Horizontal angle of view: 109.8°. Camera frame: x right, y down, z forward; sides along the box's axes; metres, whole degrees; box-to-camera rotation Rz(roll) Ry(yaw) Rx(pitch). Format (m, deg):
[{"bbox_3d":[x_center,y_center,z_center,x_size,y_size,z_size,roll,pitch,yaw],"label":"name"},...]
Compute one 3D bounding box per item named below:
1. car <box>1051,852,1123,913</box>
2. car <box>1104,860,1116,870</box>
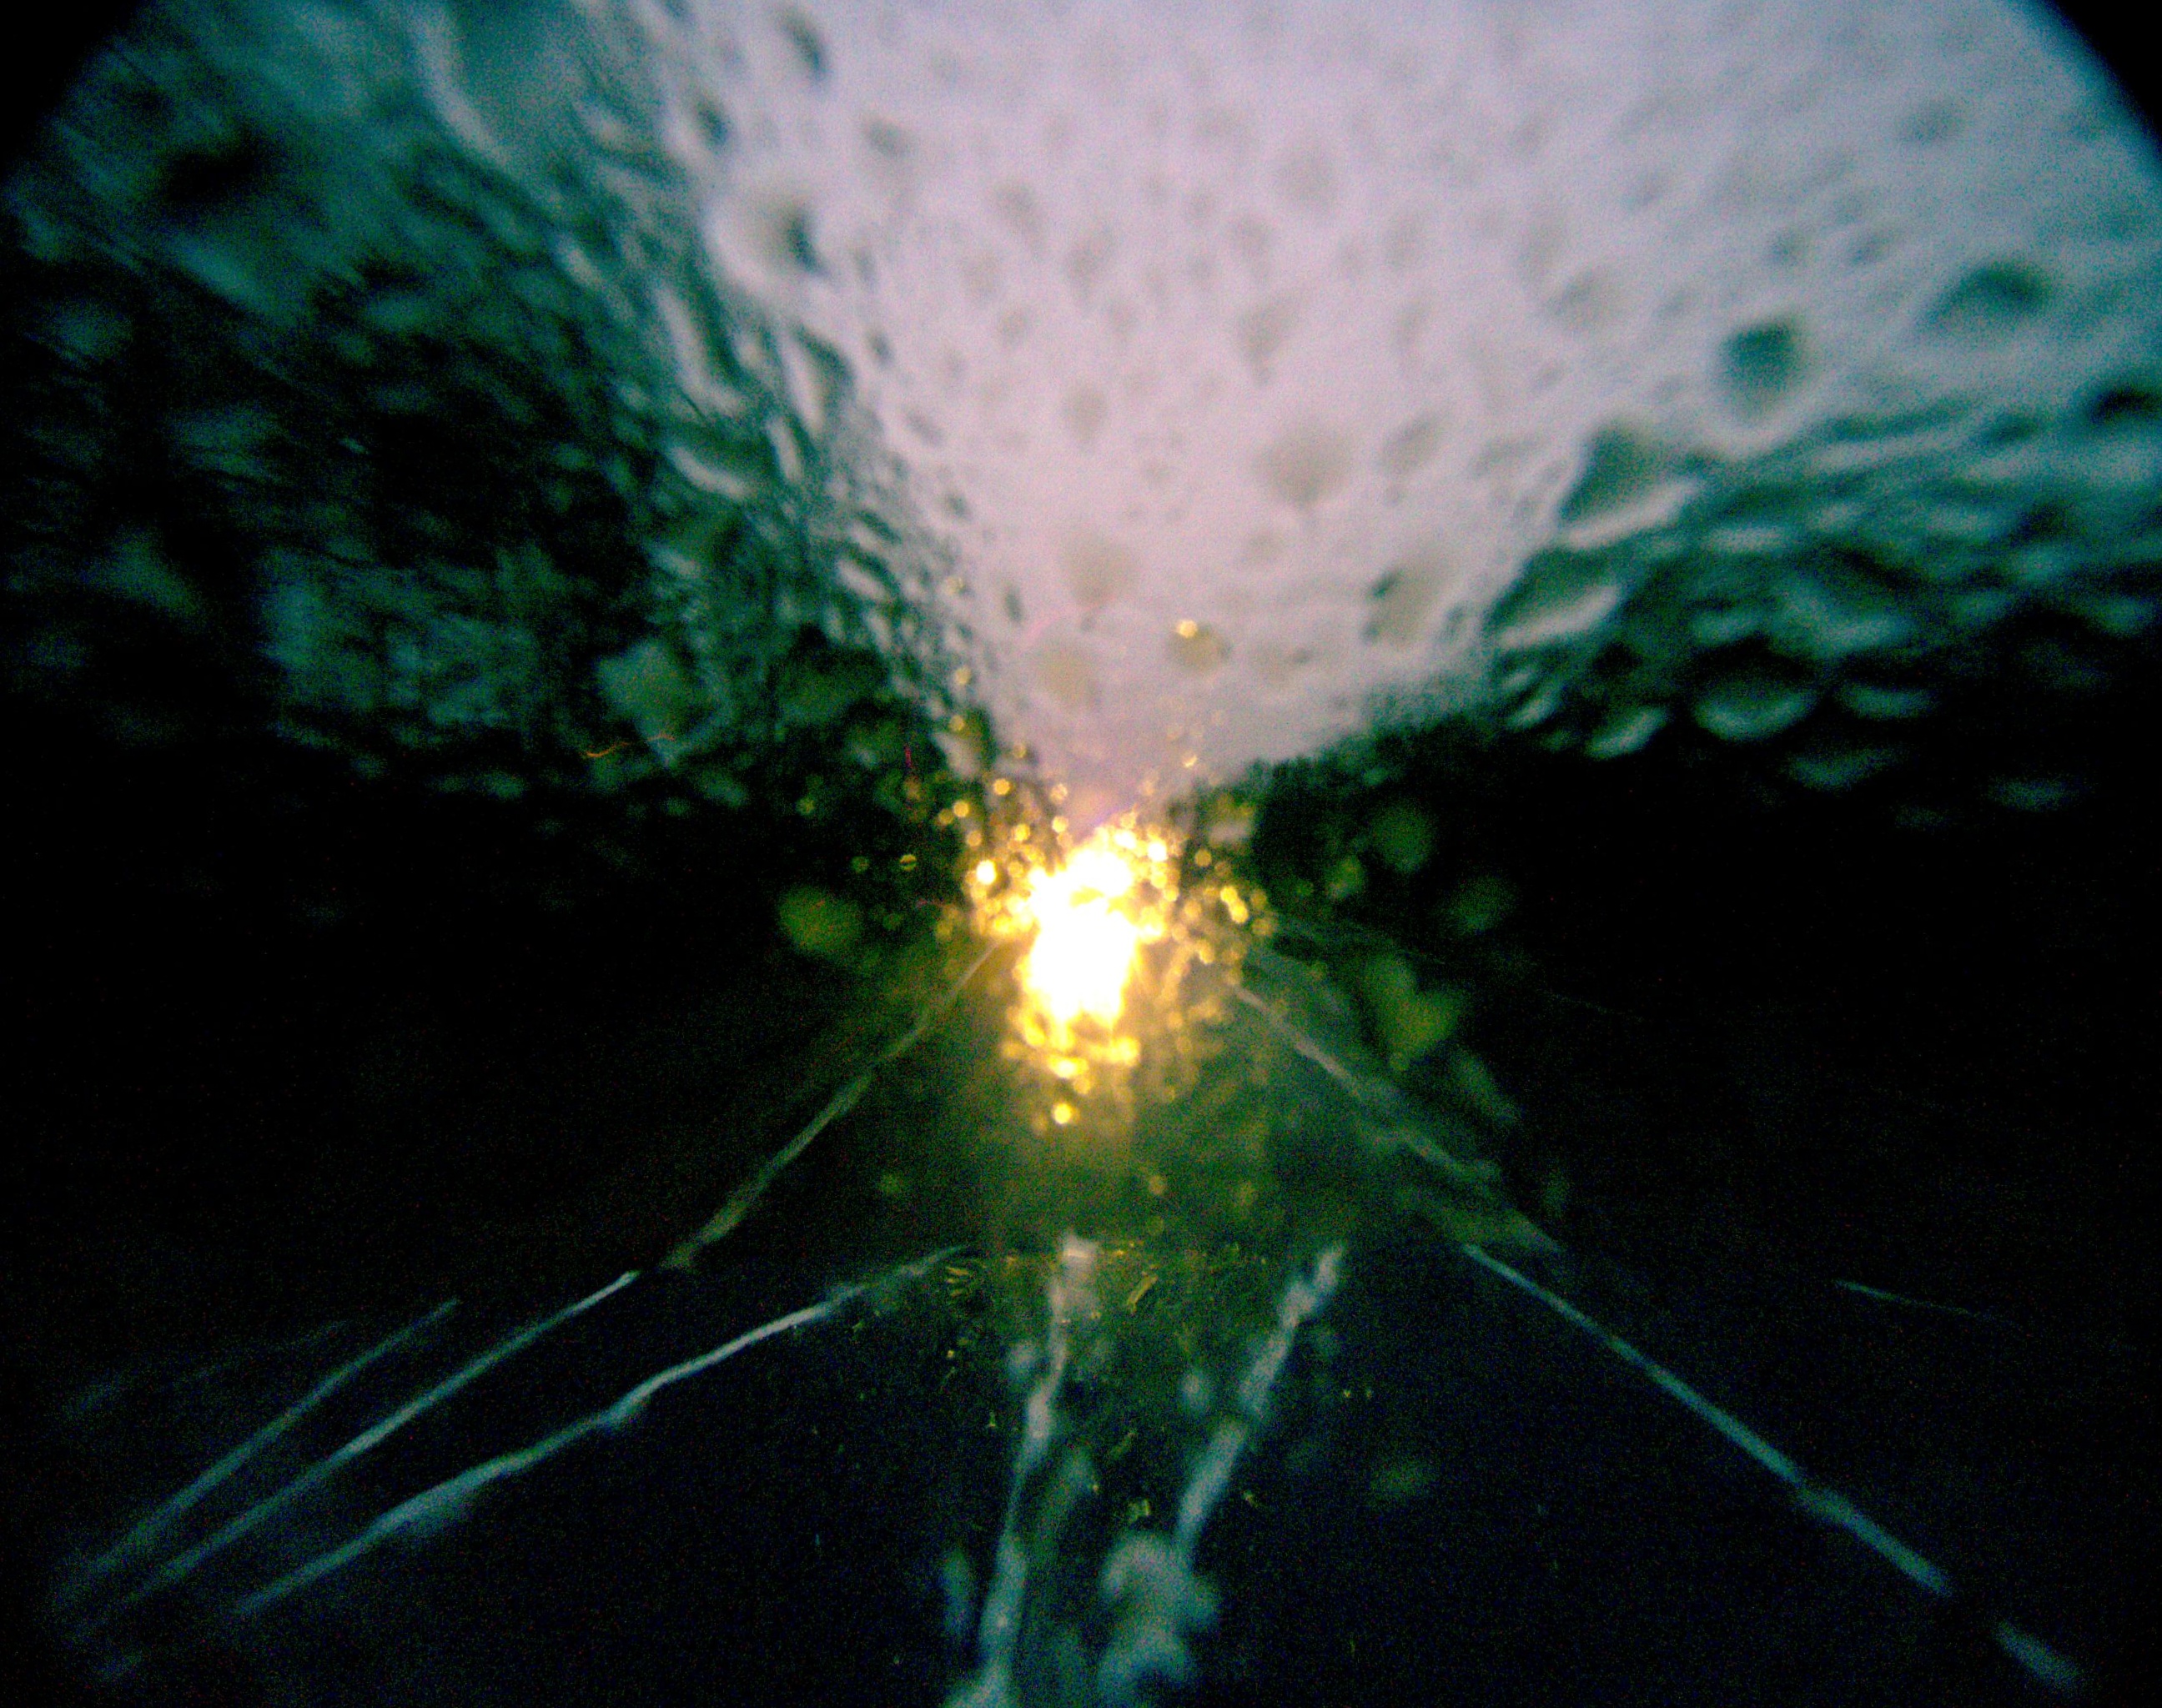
[{"bbox_3d":[0.173,0.821,23.691,1.998,1.672,4.000,-2,0,0],"label":"car"},{"bbox_3d":[4.545,1.713,118.874,1.698,1.551,4.130,-2,-1,1],"label":"car"}]
